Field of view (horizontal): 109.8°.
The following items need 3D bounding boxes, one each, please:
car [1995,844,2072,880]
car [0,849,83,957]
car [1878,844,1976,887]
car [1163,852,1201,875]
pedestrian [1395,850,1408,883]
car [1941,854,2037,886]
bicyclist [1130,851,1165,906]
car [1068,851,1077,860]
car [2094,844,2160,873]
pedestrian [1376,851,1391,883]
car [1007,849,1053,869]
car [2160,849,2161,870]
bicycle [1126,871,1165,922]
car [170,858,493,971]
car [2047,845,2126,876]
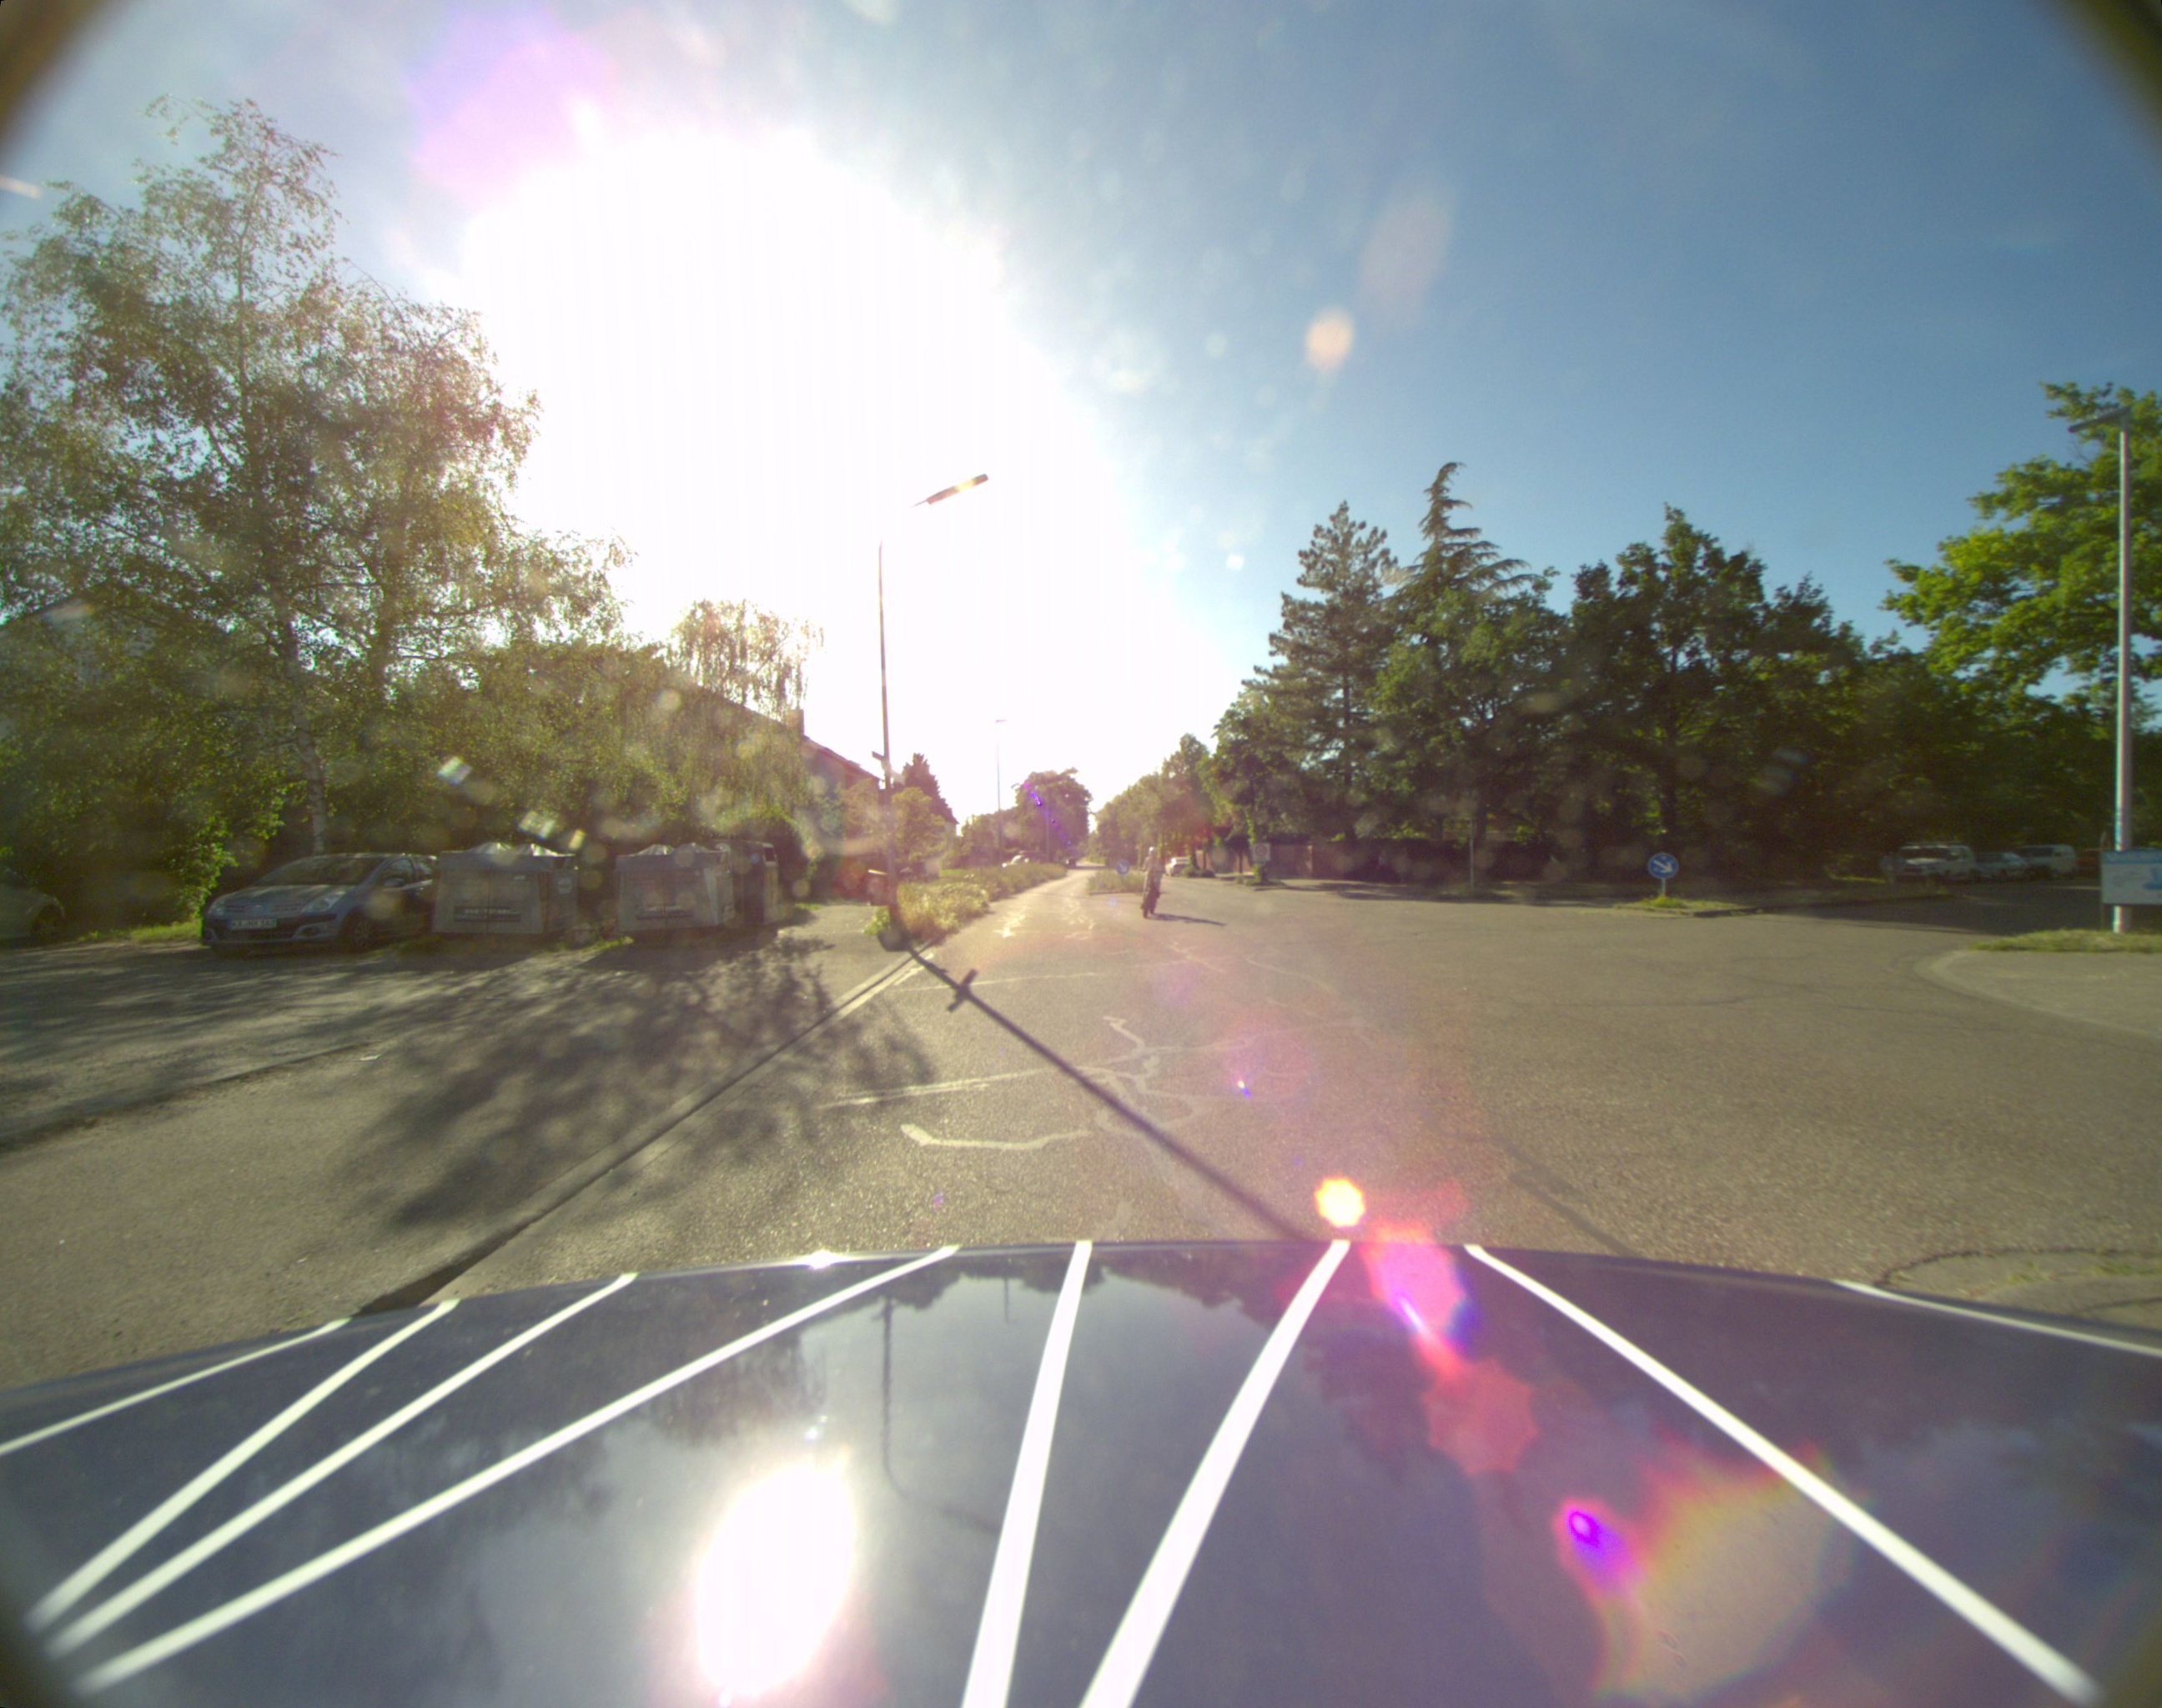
[{"bbox_3d":[48.245,0.373,38.478,3.806,1.744,1.498,-1,0,-24],"label":"car"},{"bbox_3d":[-16.760,0.710,10.711,1.794,1.593,4.056,1,-1,-30],"label":"car"},{"bbox_3d":[37.812,0.486,33.938,4.640,1.739,1.752,-1,0,-27],"label":"car"},{"bbox_3d":[7.847,0.721,59.489,2.000,1.649,3.997,-1,0,-7],"label":"car"},{"bbox_3d":[15.021,0.574,35.644,0.396,1.552,0.538,0,2,2],"label":"pedestrian"},{"bbox_3d":[43.588,0.762,36.472,4.620,1.435,1.721,0,-2,-24],"label":"car"},{"bbox_3d":[1.667,0.593,18.926,0.637,1.339,0.839,-1,1,21],"label":"bicyclist"},{"bbox_3d":[-1.789,0.355,158.542,1.999,1.805,3.999,-1,1,-1],"label":"car"},{"bbox_3d":[60.171,0.254,43.699,3.758,1.629,1.498,-1,0,-24],"label":"car"},{"bbox_3d":[14.305,0.595,35.886,0.539,1.512,0.395,-1,1,-25],"label":"pedestrian"},{"bbox_3d":[-4.479,0.431,66.617,3.657,1.707,1.744,-1,1,-37],"label":"car"},{"bbox_3d":[70.267,0.335,48.090,3.470,1.351,1.498,-1,0,-22],"label":"car"},{"bbox_3d":[1.616,1.024,18.704,0.457,1.138,1.901,0,0,21],"label":"bicycle"},{"bbox_3d":[-11.305,0.820,11.920,1.635,1.430,4.062,-1,-1,-12],"label":"car"},{"bbox_3d":[54.915,0.330,41.501,3.758,1.629,1.770,-1,0,-24],"label":"car"}]
